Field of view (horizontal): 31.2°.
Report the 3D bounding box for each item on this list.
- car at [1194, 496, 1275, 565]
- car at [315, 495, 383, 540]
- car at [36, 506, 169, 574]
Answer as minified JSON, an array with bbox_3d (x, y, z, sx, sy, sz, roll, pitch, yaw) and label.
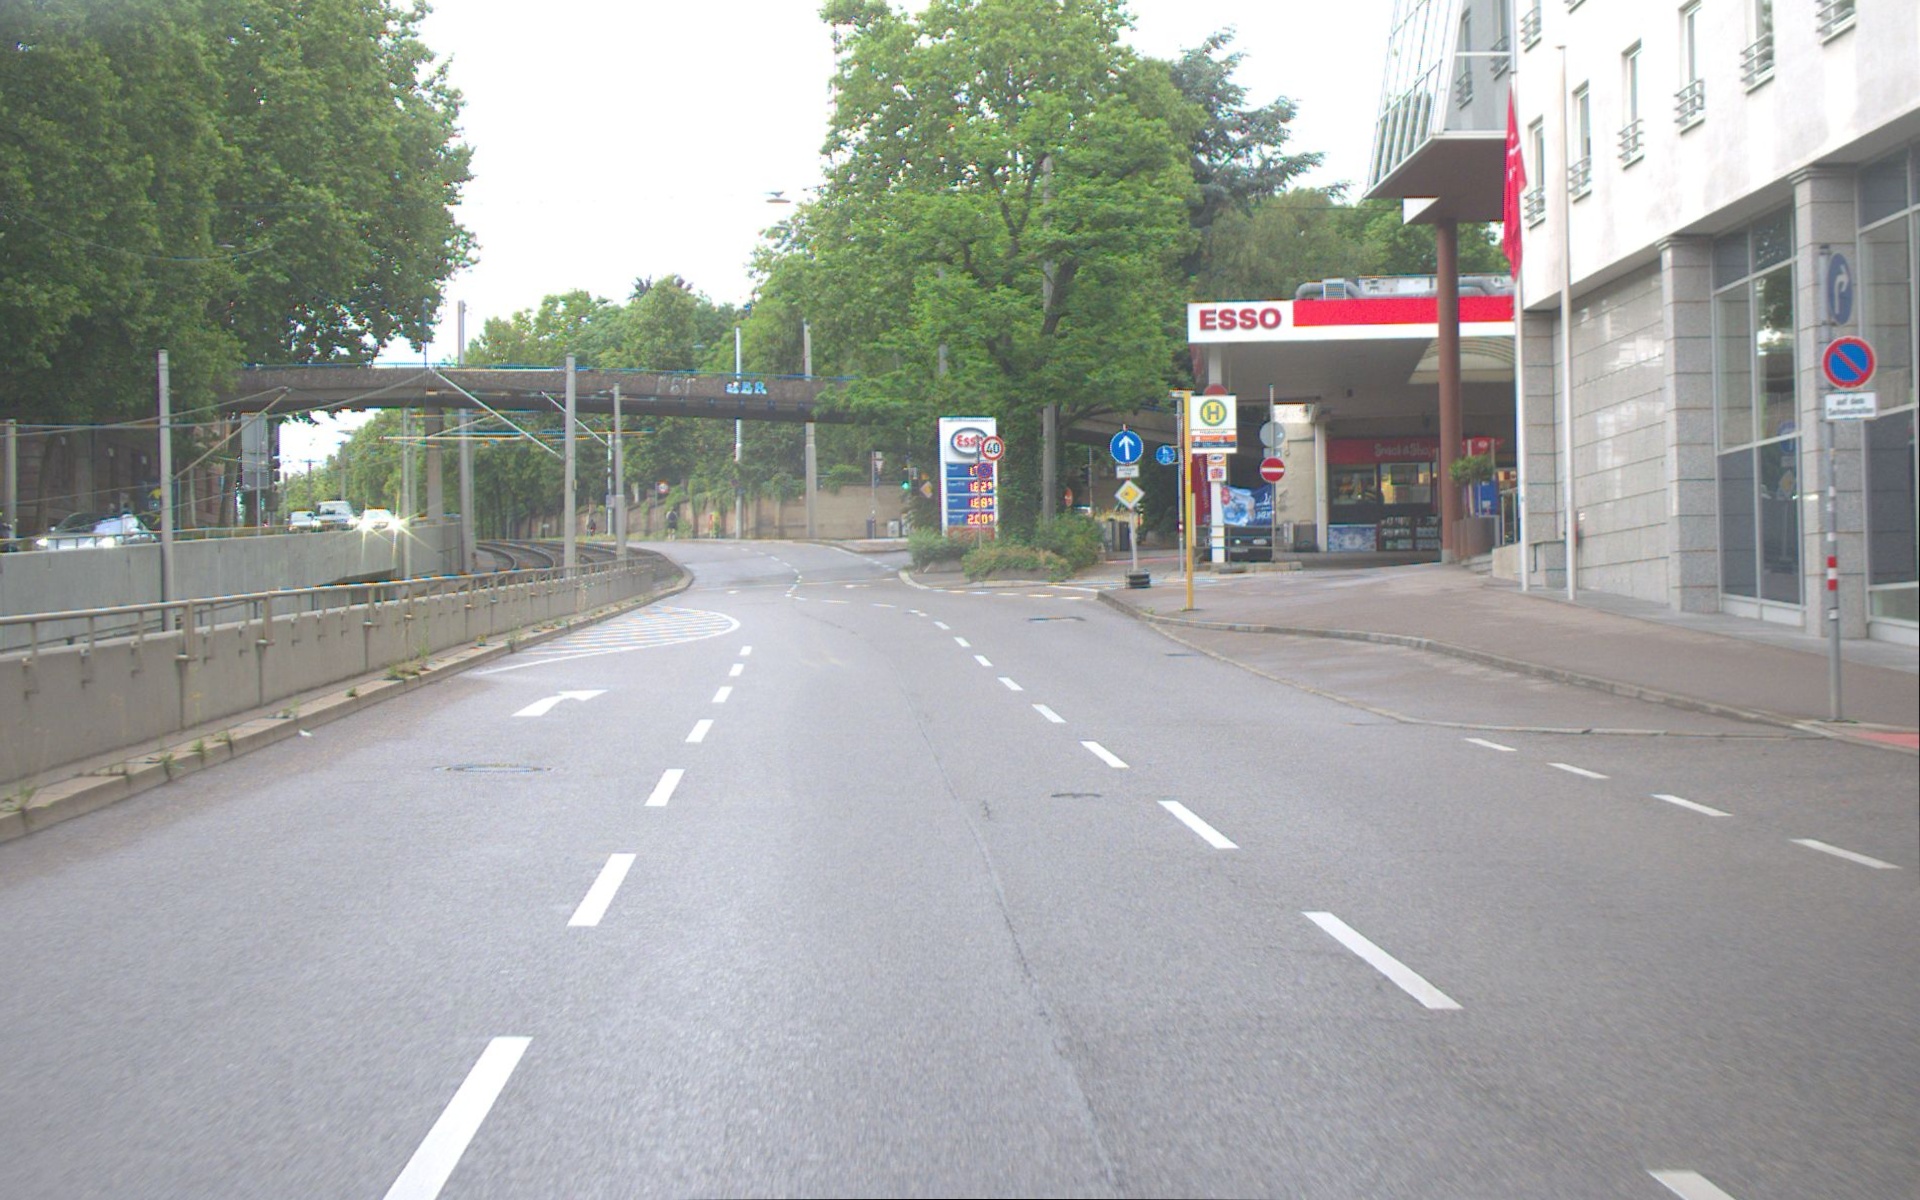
[{"bbox_3d":[6.885,-1.723,85.877,1.773,1.618,3.865,-2,1,7],"label":"car"},{"bbox_3d":[-26.234,-3.545,147.752,1.956,1.846,4.968,1,1,0],"label":"car"},{"bbox_3d":[-19.829,-1.418,79.703,2.026,1.505,4.883,1,2,-2],"label":"car"}]
